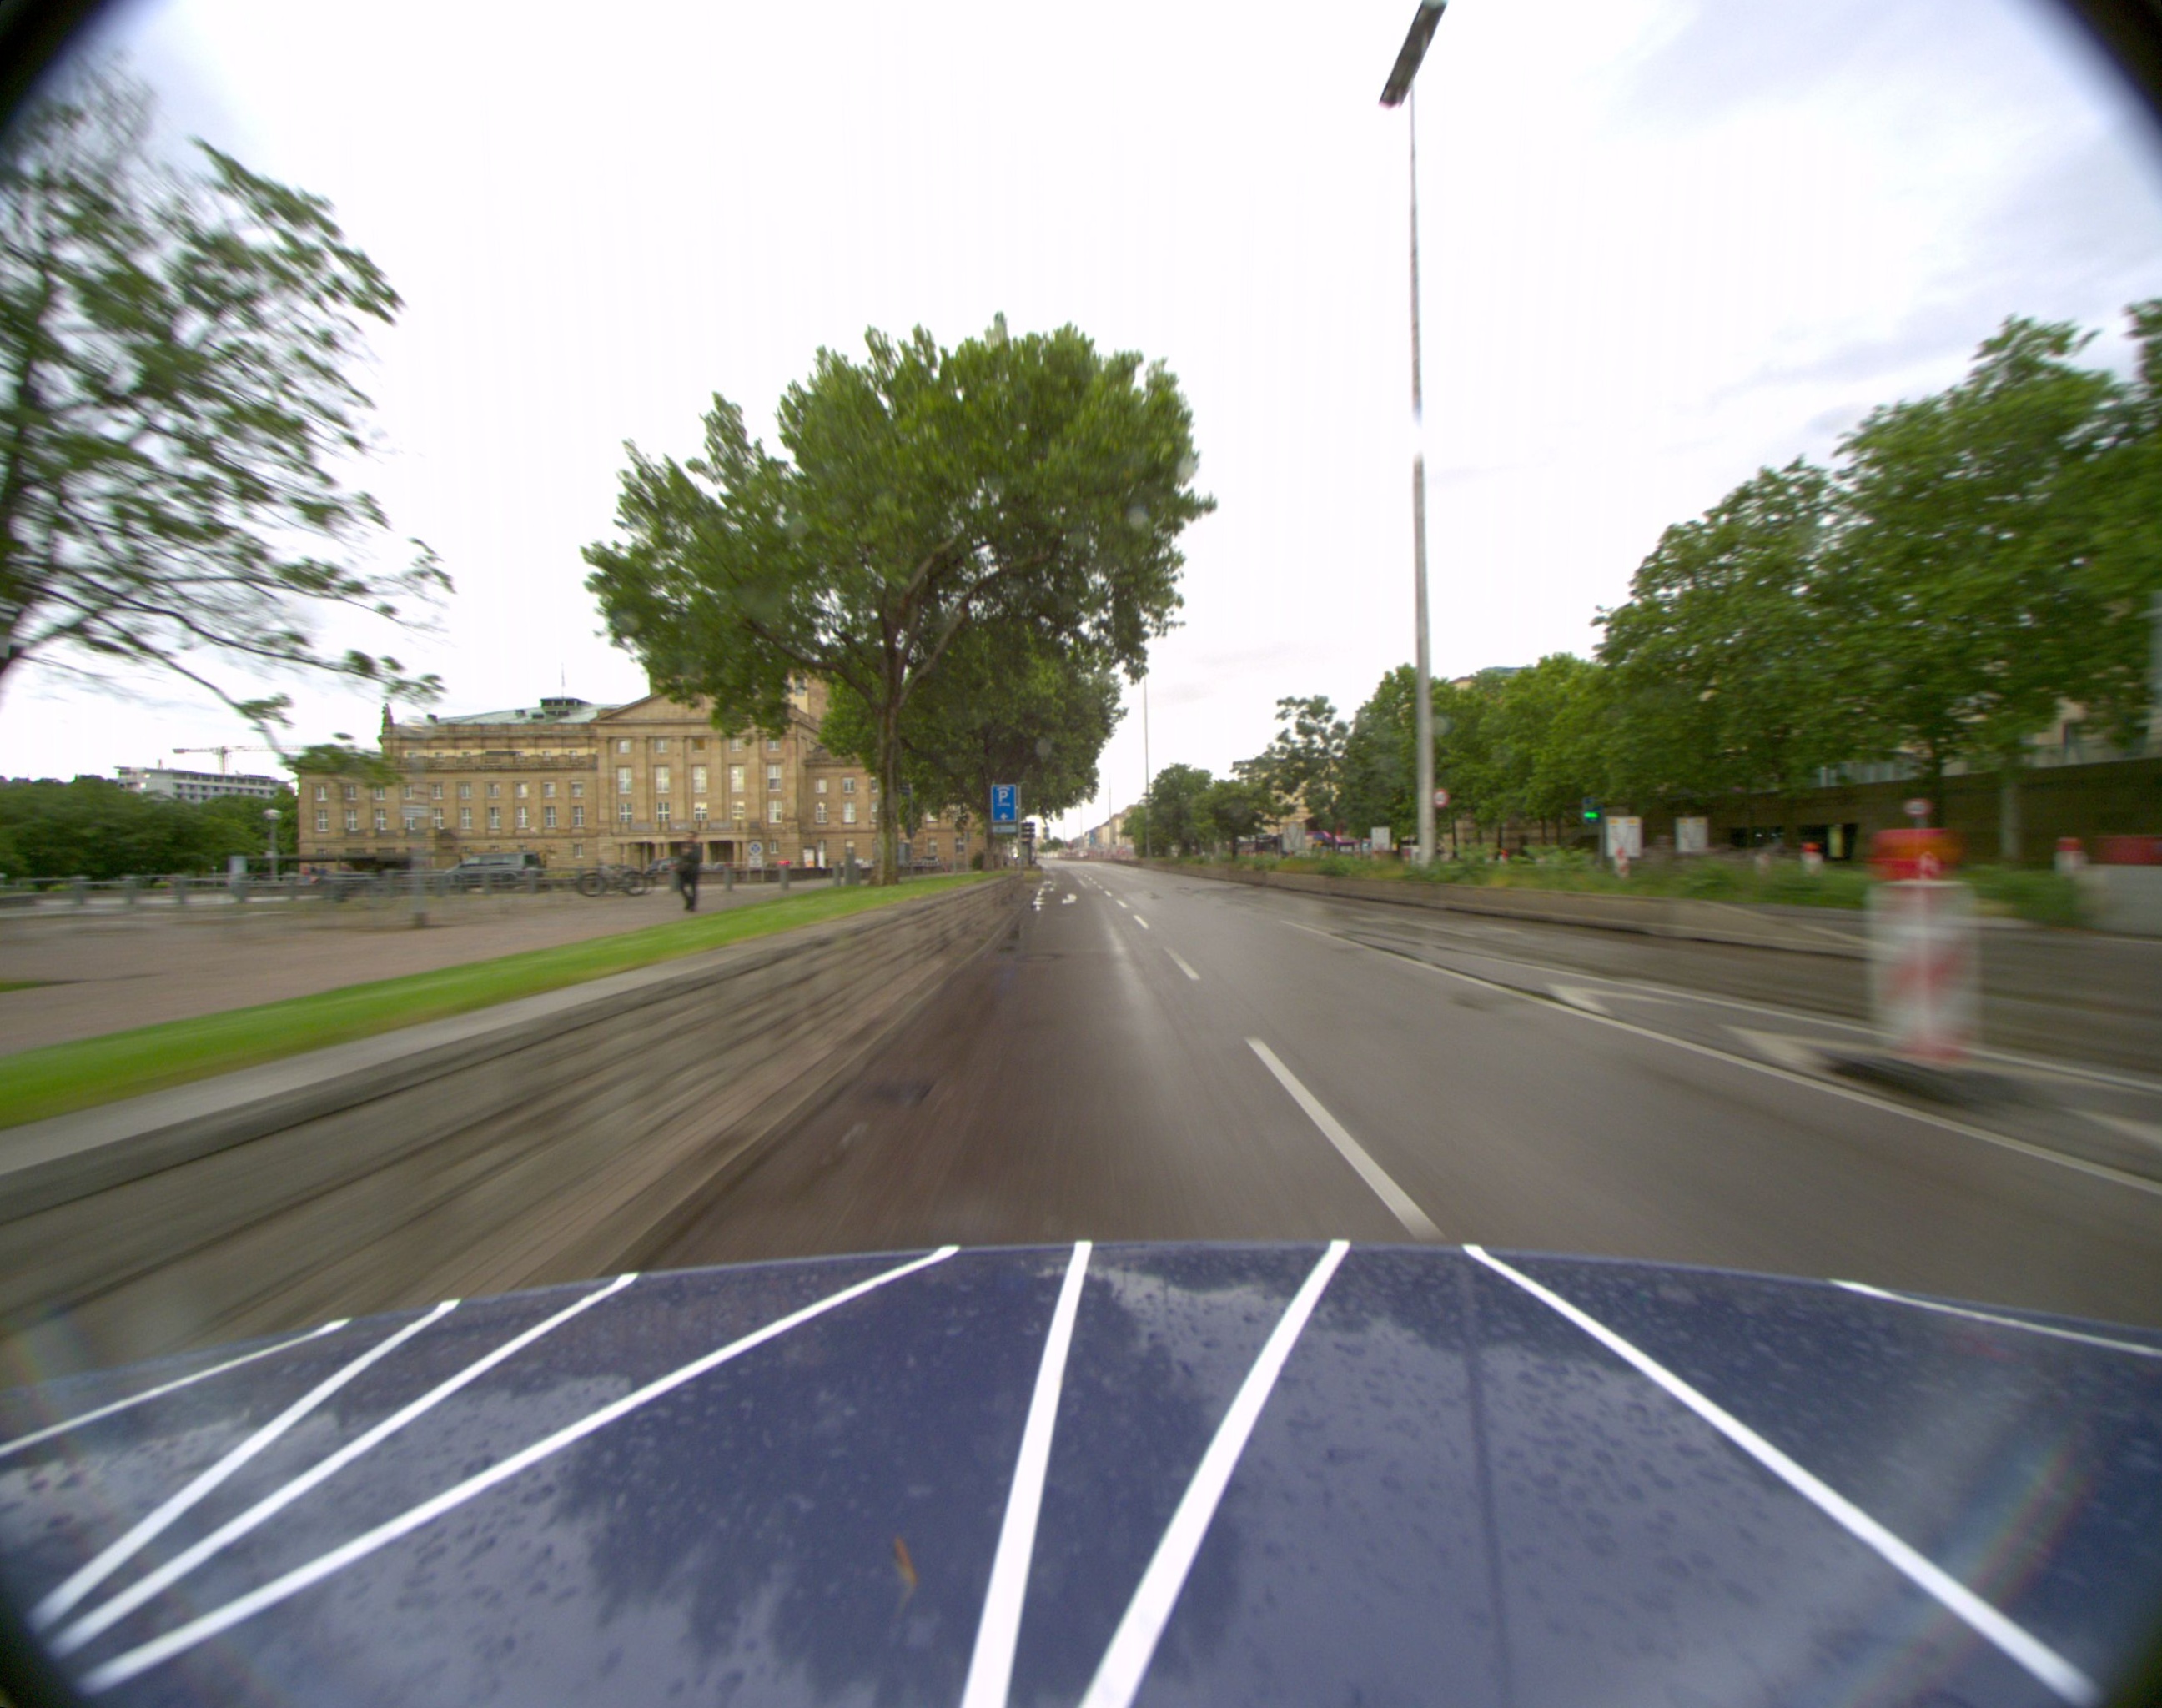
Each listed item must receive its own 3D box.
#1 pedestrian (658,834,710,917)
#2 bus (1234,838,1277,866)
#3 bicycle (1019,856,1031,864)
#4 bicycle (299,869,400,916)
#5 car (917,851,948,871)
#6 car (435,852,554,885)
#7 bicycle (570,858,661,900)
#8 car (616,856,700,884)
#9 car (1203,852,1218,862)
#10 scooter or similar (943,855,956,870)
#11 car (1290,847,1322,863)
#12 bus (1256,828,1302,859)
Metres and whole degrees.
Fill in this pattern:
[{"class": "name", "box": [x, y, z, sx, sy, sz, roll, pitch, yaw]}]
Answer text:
[{"class": "pedestrian", "box": [-8.442, 0.456, 16.173, 0.707, 1.708, 0.692, 2, 1, -1]}, {"class": "bus", "box": [25.496, -0.304, 112.011, 2.811, 3.789, 14.595, -3, 0, 0]}, {"class": "bicycle", "box": [-7.266, 0.721, 98.419, 1.593, 0.988, 0.524, -2, 1, -2]}, {"class": "bicycle", "box": [-17.670, 0.907, 18.372, 1.646, 1.079, 0.709, -1, 0, -7]}, {"class": "car", "box": [-12.900, 0.611, 66.354, 1.999, 1.600, 5.235, -2, -1, -4]}, {"class": "car", "box": [-34.855, 0.846, 45.323, 5.021, 1.753, 2.459, -1, 1, -5]}, {"class": "bicycle", "box": [-13.539, 0.708, 22.174, 2.041, 1.167, 0.959, -1, 0, -12]}, {"class": "car", "box": [-24.700, 0.898, 44.448, 3.997, 1.591, 1.656, 0, 1, 0]}, {"class": "car", "box": [20.869, 0.470, 122.314, 1.596, 1.492, 3.212, -2, 1, -6]}, {"class": "scooter or similar", "box": [-10.810, 0.671, 62.453, 0.544, 1.248, 1.433, -1, 0, -35]}, {"class": "car", "box": [22.497, 0.080, 76.134, 1.999, 1.521, 3.998, 0, 1, -1]}, {"class": "bus", "box": [29.219, -1.471, 113.009, 3.127, 4.227, 13.492, -3, 0, 0]}]
